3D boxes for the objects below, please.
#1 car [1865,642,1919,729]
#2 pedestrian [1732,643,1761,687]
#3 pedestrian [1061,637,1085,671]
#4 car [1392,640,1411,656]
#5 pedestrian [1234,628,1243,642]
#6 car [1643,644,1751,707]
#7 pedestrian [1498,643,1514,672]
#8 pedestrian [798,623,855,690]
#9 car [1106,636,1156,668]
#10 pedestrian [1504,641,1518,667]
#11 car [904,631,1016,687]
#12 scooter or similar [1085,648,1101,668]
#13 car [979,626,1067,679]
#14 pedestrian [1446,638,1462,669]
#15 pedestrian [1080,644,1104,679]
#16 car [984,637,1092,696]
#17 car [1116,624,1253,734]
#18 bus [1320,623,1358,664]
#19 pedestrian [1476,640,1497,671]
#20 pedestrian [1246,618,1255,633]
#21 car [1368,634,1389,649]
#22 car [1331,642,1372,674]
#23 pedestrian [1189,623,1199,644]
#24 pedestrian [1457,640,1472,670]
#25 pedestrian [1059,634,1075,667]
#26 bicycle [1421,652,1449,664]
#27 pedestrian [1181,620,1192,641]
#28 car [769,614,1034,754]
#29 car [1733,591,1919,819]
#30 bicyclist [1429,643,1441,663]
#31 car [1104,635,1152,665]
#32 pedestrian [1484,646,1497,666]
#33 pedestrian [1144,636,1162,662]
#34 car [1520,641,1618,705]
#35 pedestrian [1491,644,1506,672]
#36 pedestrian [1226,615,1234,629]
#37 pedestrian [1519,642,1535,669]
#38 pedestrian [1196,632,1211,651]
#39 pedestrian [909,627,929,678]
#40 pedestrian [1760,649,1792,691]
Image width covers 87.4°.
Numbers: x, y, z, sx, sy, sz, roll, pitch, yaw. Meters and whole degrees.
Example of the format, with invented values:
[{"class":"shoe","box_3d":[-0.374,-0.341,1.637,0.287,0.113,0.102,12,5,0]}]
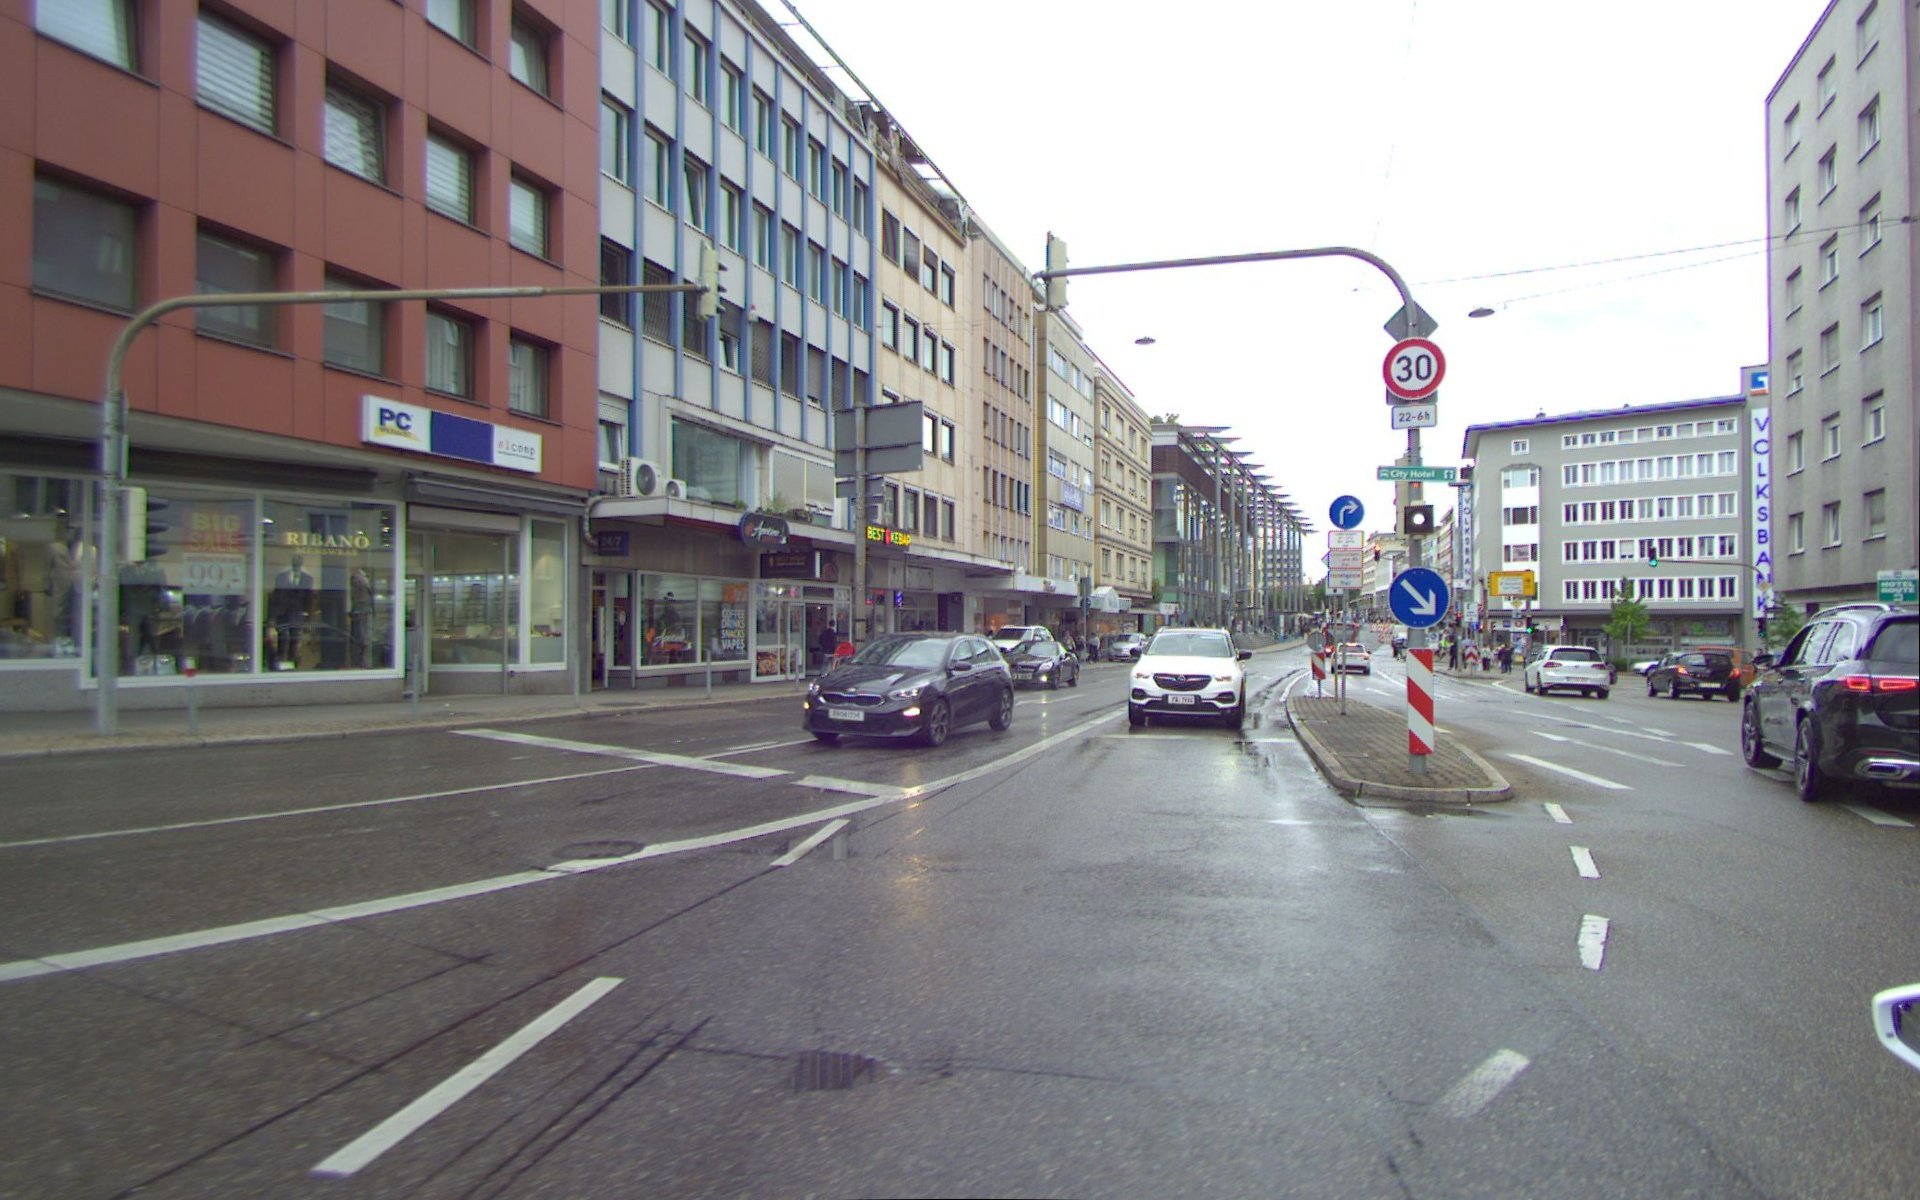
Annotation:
[{"class":"car","box_3d":[16.813,1.444,16.588,1.690,1.438,3.768,1,-3,24]},{"class":"pedestrian","box_3d":[30.916,2.547,39.473,0.774,1.714,0.623,3,-5,-33]},{"class":"pedestrian","box_3d":[5.889,2.803,52.301,0.936,1.718,1.086,2,0,21]},{"class":"car","box_3d":[45.274,4.895,103.021,1.709,1.547,3.999,2,-2,23]},{"class":"pedestrian","box_3d":[34.052,4.295,122.845,1.021,1.735,1.008,1,-2,17]},{"class":"car","box_3d":[22.280,2.222,30.531,1.920,1.595,3.996,2,0,26]},{"class":"pedestrian","box_3d":[30.640,3.211,56.399,0.702,1.588,0.854,1,-2,27]},{"class":"pedestrian","box_3d":[-3.669,1.534,27.683,0.936,1.741,1.419,2,-1,20]},{"class":"car","box_3d":[9.585,2.849,56.072,1.817,1.571,4.399,2,-1,21]},{"class":"pedestrian","box_3d":[37.152,3.663,67.730,0.770,1.711,0.637,1,-1,31]},{"class":"car","box_3d":[0.107,1.847,32.276,1.835,1.629,4.879,1,-2,23]},{"class":"scooter or similar","box_3d":[7.229,3.150,54.571,0.724,1.068,0.701,2,0,21]},{"class":"car","box_3d":[2.487,1.975,38.280,1.819,1.851,4.962,1,-2,23]},{"class":"pedestrian","box_3d":[28.170,3.073,57.327,0.771,1.733,0.706,1,-2,27]},{"class":"pedestrian","box_3d":[6.825,3.147,51.817,0.936,1.736,1.090,2,0,21]},{"class":"car","box_3d":[2.240,1.779,27.820,1.763,1.379,4.059,2,-1,23]},{"class":"car","box_3d":[4.023,1.241,17.443,1.960,1.572,4.430,2,-1,17]},{"class":"bus","box_3d":[35.840,4.122,94.663,2.873,3.364,18.476,1,-2,22]},{"class":"pedestrian","box_3d":[29.304,3.087,55.921,0.963,1.694,0.914,1,-1,28]},{"class":"pedestrian","box_3d":[34.922,3.112,120.900,1.021,1.735,1.008,1,-2,17]},{"class":"car","box_3d":[55.466,5.529,133.106,2.383,1.804,5.154,2,-2,21]},{"class":"car","box_3d":[19.022,2.771,48.826,1.763,1.434,4.631,0,-2,21]},{"class":"pedestrian","box_3d":[23.006,3.313,98.738,0.861,2.006,0.850,1,-2,22]},{"class":"pedestrian","box_3d":[29.534,3.230,58.796,0.744,1.714,0.693,1,-3,27]},{"class":"pedestrian","box_3d":[5.355,2.523,50.280,0.631,1.594,0.612,0,-2,22]},{"class":"bicycle","box_3d":[41.273,5.059,87.305,2.110,1.006,0.692,-1,-3,36]},{"class":"pedestrian","box_3d":[22.109,3.012,97.881,0.866,2.006,0.975,1,-2,22]},{"class":"car","box_3d":[-0.607,1.041,14.137,1.961,1.572,4.376,2,-1,23]},{"class":"car","box_3d":[9.279,0.906,9.937,2.058,1.841,4.782,-1,-2,31]},{"class":"bicyclist","box_3d":[41.273,4.565,87.330,0.833,1.726,0.621,-1,-3,36]},{"class":"car","box_3d":[9.444,2.784,56.148,1.673,1.584,4.200,1,-2,23]},{"class":"pedestrian","box_3d":[36.061,3.803,68.264,0.619,1.357,0.588,2,-1,16]},{"class":"pedestrian","box_3d":[12.797,3.239,66.584,0.833,1.649,0.771,2,-2,-21]},{"class":"car","box_3d":[17.926,2.089,29.760,1.919,1.595,3.998,2,0,23]},{"class":"pedestrian","box_3d":[29.441,3.153,54.894,0.694,1.507,0.560,1,-2,27]},{"class":"pedestrian","box_3d":[33.857,2.784,125.939,1.021,1.735,1.008,1,-2,17]},{"class":"pedestrian","box_3d":[38.576,3.744,68.371,0.815,1.802,0.618,2,-1,16]},{"class":"pedestrian","box_3d":[23.365,3.978,96.418,1.000,1.735,1.030,3,-2,-40]},{"class":"pedestrian","box_3d":[-1.422,1.805,34.838,0.438,1.731,0.584,2,0,23]},{"class":"pedestrian","box_3d":[32.979,2.850,40.611,0.589,1.655,0.741,4,-7,-26]}]
